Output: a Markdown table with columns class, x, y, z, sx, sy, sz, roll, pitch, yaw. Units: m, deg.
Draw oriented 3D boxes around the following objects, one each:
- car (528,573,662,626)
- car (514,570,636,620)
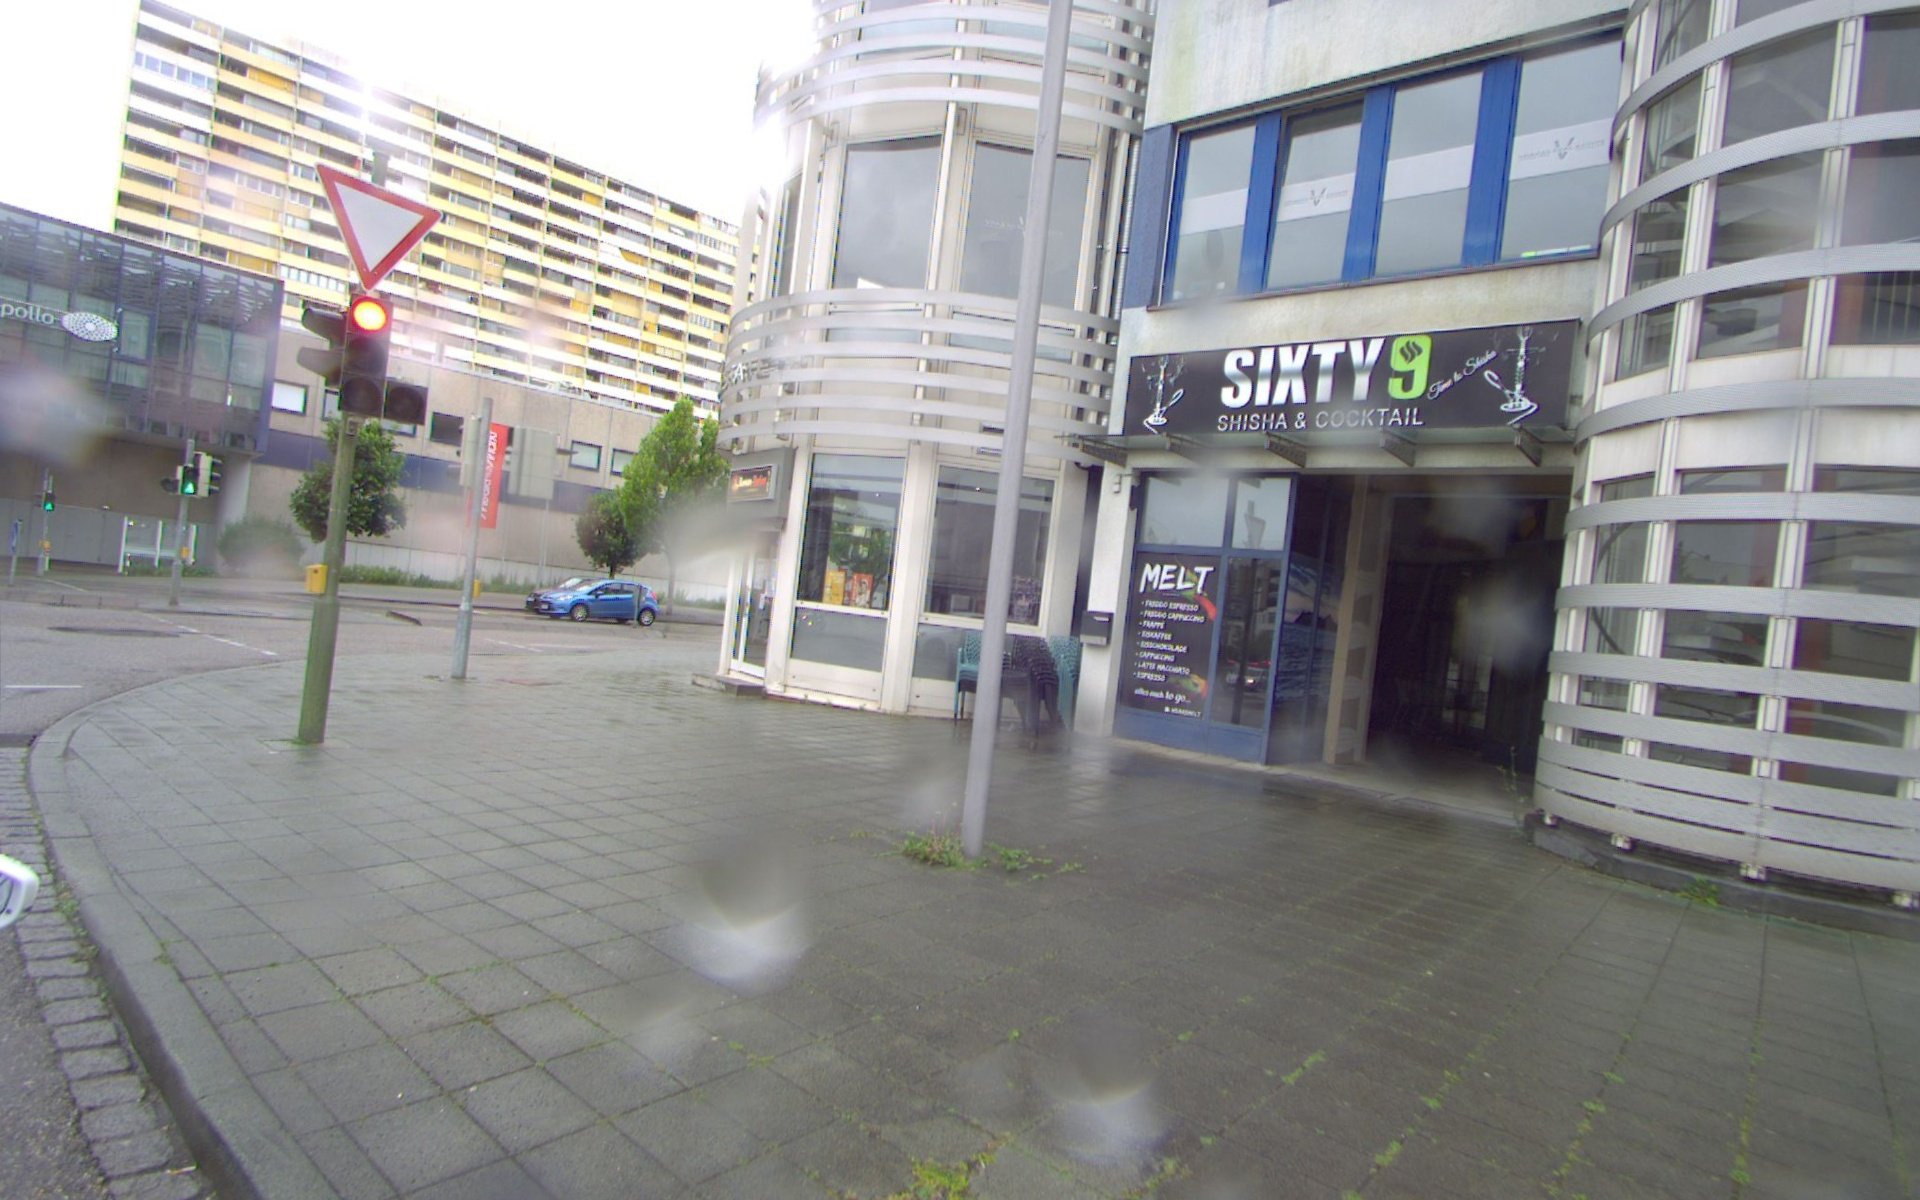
| class | x | y | z | sx | sy | sz | roll | pitch | yaw |
| --- | --- | --- | --- | --- | --- | --- | --- | --- | --- |
| car | -12.069 | 0.022 | 33.433 | 1.655 | 1.415 | 3.837 | 5 | 0 | 40 |
| car | -13.759 | -0.162 | 36.078 | 1.720 | 1.412 | 3.677 | 5 | 0 | 41 |
